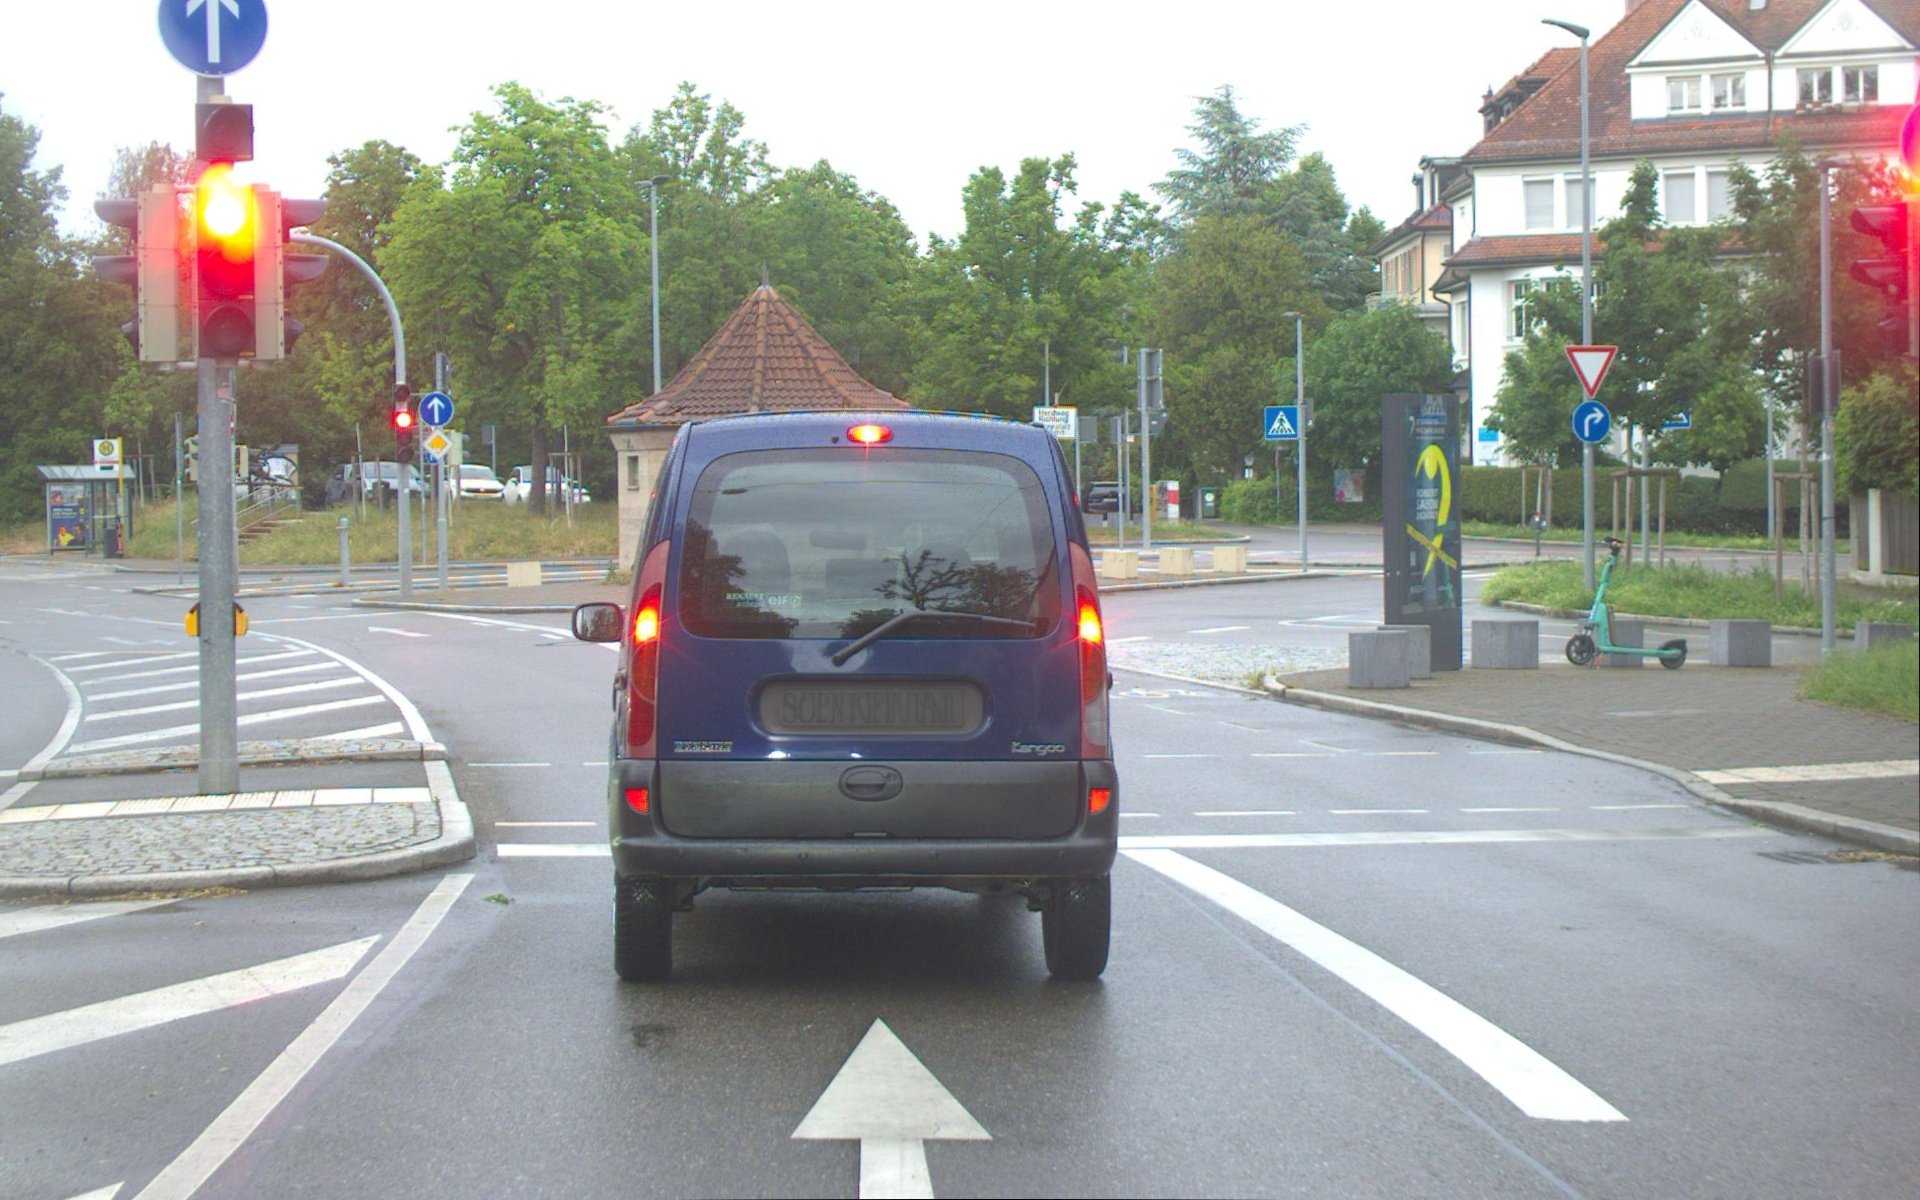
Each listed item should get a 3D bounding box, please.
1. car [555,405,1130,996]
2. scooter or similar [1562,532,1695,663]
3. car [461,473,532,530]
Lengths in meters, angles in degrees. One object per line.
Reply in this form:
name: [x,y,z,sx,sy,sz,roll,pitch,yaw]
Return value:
car: [-0.464,0.250,12.399,1.731,1.780,4.001,0,2,-3]
scooter or similar: [6.268,-0.028,32.255,1.149,1.214,0.406,0,0,-2]
car: [-15.314,-3.252,113.737,1.993,1.806,4.001,0,1,-3]
